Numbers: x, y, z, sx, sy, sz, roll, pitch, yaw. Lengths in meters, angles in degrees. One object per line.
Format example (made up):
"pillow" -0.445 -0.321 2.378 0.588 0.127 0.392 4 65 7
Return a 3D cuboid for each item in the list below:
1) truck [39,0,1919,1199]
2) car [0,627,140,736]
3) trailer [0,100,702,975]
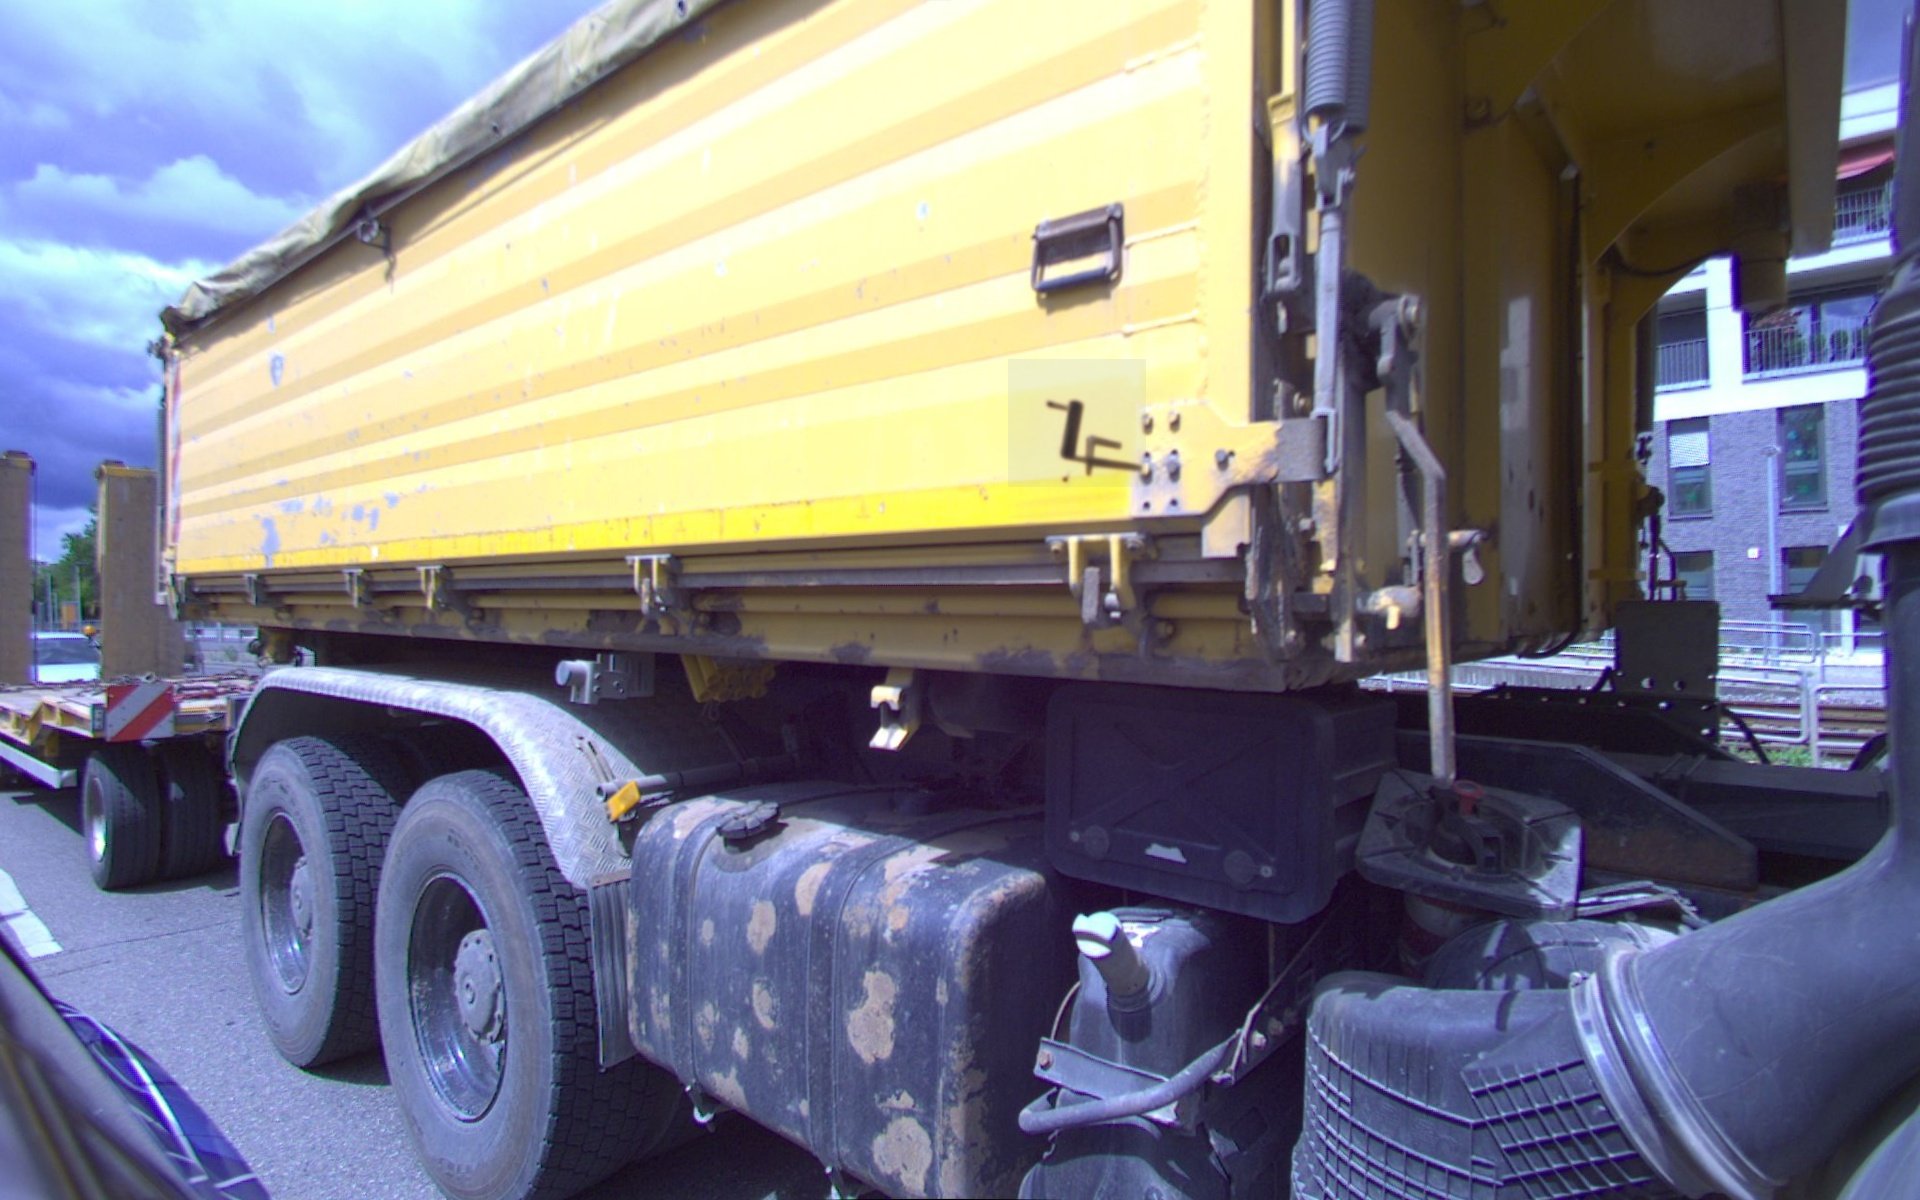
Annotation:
"truck" 0.123 -0.230 2.871 7.999 3.420 3.019 -2 -1 40
"car" -13.980 1.163 15.386 3.784 1.427 1.761 -2 -1 41
"trailer" -6.854 -0.147 9.019 10.957 3.726 3.018 -2 -1 40
